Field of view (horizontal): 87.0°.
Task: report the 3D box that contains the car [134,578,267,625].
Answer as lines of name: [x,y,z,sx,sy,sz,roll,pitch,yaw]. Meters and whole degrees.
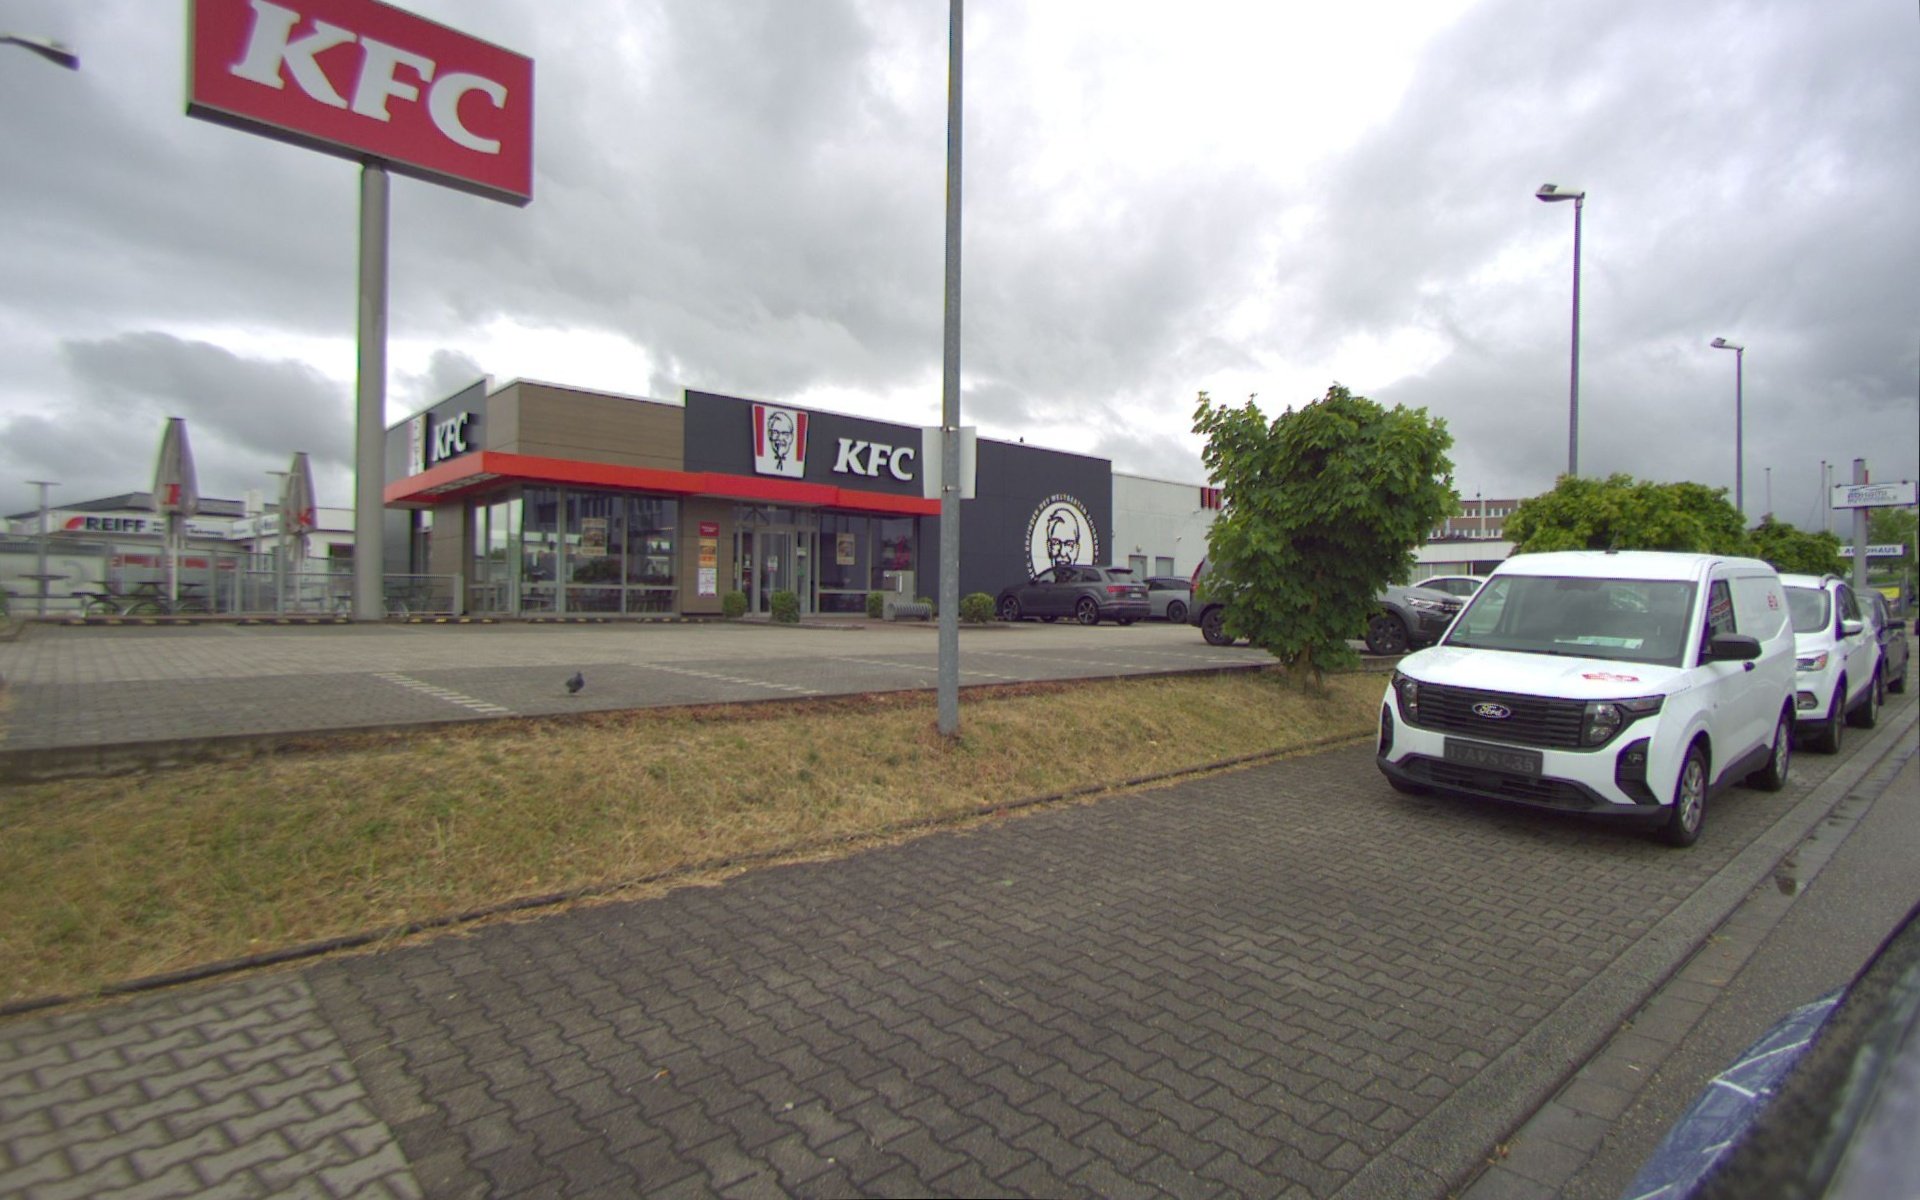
car: [-29.407,0.031,39.223,3.934,1.701,1.952,-1,1,-44]

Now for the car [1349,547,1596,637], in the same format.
car: [11.094,-0.195,22.121,4.489,1.762,1.862,0,1,45]

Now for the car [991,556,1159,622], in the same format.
car: [3.270,-0.328,29.405,4.728,1.762,1.862,0,1,45]

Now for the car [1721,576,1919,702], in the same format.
car: [12.891,0.469,14.987,3.930,1.618,1.821,-1,1,-41]

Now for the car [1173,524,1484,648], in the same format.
car: [5.946,-0.229,16.716,4.489,1.762,1.862,0,1,45]

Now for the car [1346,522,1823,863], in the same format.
car: [4.727,0.422,7.401,4.176,1.805,1.796,-1,3,-41]

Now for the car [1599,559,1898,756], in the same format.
car: [8.552,0.474,10.867,3.930,1.730,1.821,-1,1,-41]

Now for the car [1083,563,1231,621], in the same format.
car: [6.346,-0.283,32.974,4.489,1.762,1.862,0,1,45]
